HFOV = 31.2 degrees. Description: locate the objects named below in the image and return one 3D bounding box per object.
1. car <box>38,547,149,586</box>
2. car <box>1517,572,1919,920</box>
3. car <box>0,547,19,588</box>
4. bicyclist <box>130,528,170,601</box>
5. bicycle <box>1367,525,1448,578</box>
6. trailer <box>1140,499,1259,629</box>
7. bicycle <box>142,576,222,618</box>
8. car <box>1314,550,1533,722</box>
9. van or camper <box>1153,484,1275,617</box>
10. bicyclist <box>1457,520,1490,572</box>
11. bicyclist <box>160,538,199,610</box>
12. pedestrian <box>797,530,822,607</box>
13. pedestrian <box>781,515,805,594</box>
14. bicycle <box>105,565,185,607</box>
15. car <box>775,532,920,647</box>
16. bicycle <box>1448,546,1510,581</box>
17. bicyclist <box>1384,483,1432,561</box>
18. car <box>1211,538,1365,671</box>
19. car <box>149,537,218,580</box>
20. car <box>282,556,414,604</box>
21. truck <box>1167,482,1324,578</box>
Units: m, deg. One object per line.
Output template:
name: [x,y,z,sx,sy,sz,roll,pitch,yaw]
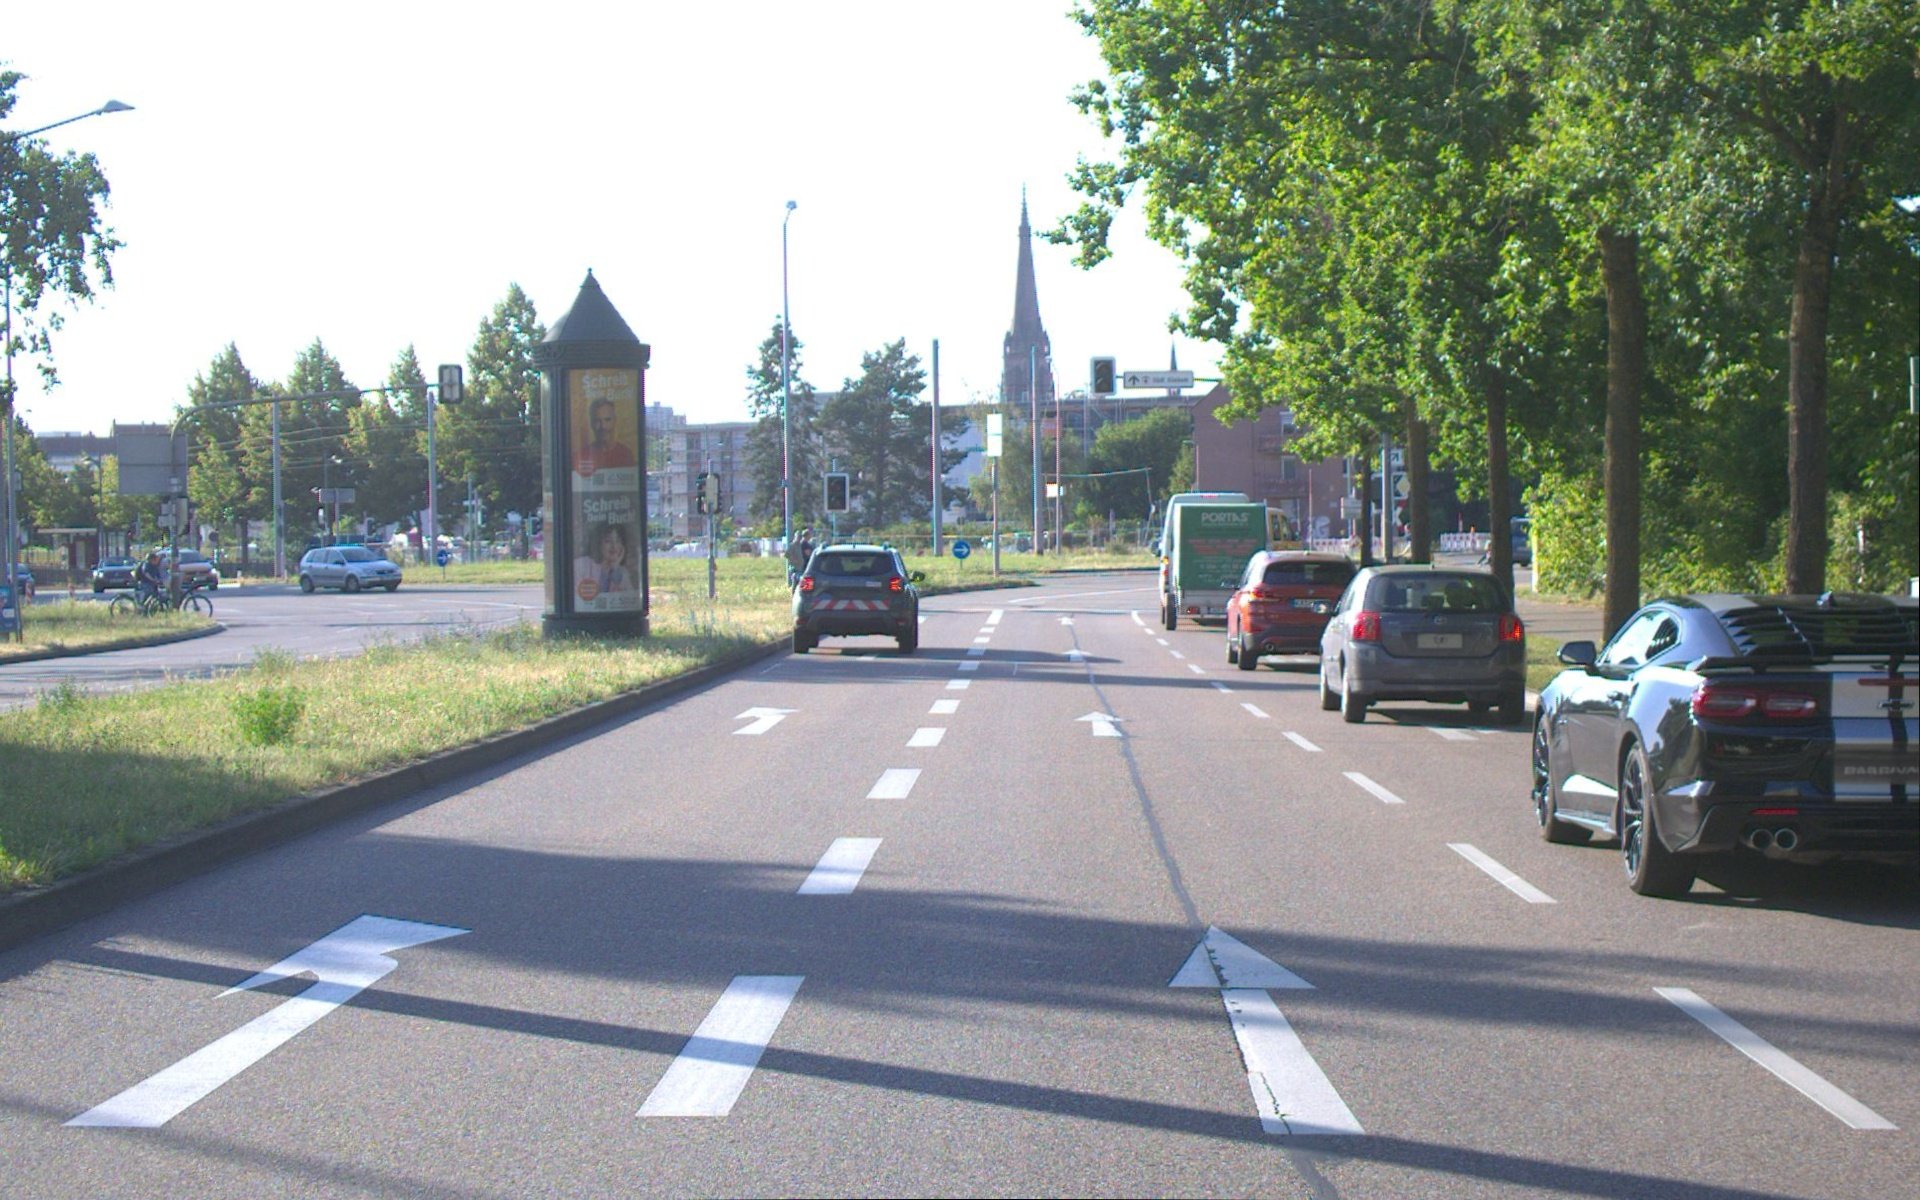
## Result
car: [-33.856,-1.294,134.363,4.142,1.371,1.670,-1,2,29]
car: [3.852,0.581,16.406,1.854,1.333,4.625,0,2,3]
car: [-35.601,-1.135,124.526,1.667,1.436,3.615,-2,2,7]
bicyclist: [-19.839,-0.871,84.192,0.813,1.764,0.496,1,1,17]
bicycle: [11.076,-1.186,85.095,1.908,1.240,0.608,-2,1,38]
trailer: [4.512,-0.709,65.259,2.090,2.392,3.501,1,1,2]
bicycle: [-19.361,-0.074,85.560,1.909,1.016,0.504,0,1,9]
car: [4.385,0.299,32.978,1.747,1.468,3.819,-1,2,3]
van or camper: [5.201,-1.069,71.302,2.285,2.620,6.583,0,2,2]
bicyclist: [12.895,-1.362,86.311,0.648,1.290,0.466,-2,2,-16]
bicyclist: [-19.423,-0.653,85.517,0.813,1.782,0.496,1,1,10]
pedestrian: [-3.613,-0.755,82.505,0.486,1.837,0.672,-1,1,5]
pedestrian: [-3.953,-1.080,81.484,0.486,1.837,0.719,-1,1,3]
bicycle: [-19.969,-0.350,84.237,1.910,1.016,0.504,1,1,17]
car: [-1.759,-0.187,52.492,1.905,1.654,4.001,-1,1,-6]
bicycle: [13.034,-0.925,86.353,1.459,0.783,0.440,-4,2,-16]
bicyclist: [11.078,-1.931,85.063,0.938,1.892,0.600,-2,1,38]
car: [4.467,0.029,47.241,1.747,1.615,3.820,-1,3,0]
car: [-27.224,-1.471,120.437,1.902,1.439,4.141,-2,2,-18]
car: [-19.530,-0.634,109.682,3.752,1.429,1.833,0,2,26]
truck: [8.012,-1.980,95.941,2.583,2.549,6.245,-1,2,22]
